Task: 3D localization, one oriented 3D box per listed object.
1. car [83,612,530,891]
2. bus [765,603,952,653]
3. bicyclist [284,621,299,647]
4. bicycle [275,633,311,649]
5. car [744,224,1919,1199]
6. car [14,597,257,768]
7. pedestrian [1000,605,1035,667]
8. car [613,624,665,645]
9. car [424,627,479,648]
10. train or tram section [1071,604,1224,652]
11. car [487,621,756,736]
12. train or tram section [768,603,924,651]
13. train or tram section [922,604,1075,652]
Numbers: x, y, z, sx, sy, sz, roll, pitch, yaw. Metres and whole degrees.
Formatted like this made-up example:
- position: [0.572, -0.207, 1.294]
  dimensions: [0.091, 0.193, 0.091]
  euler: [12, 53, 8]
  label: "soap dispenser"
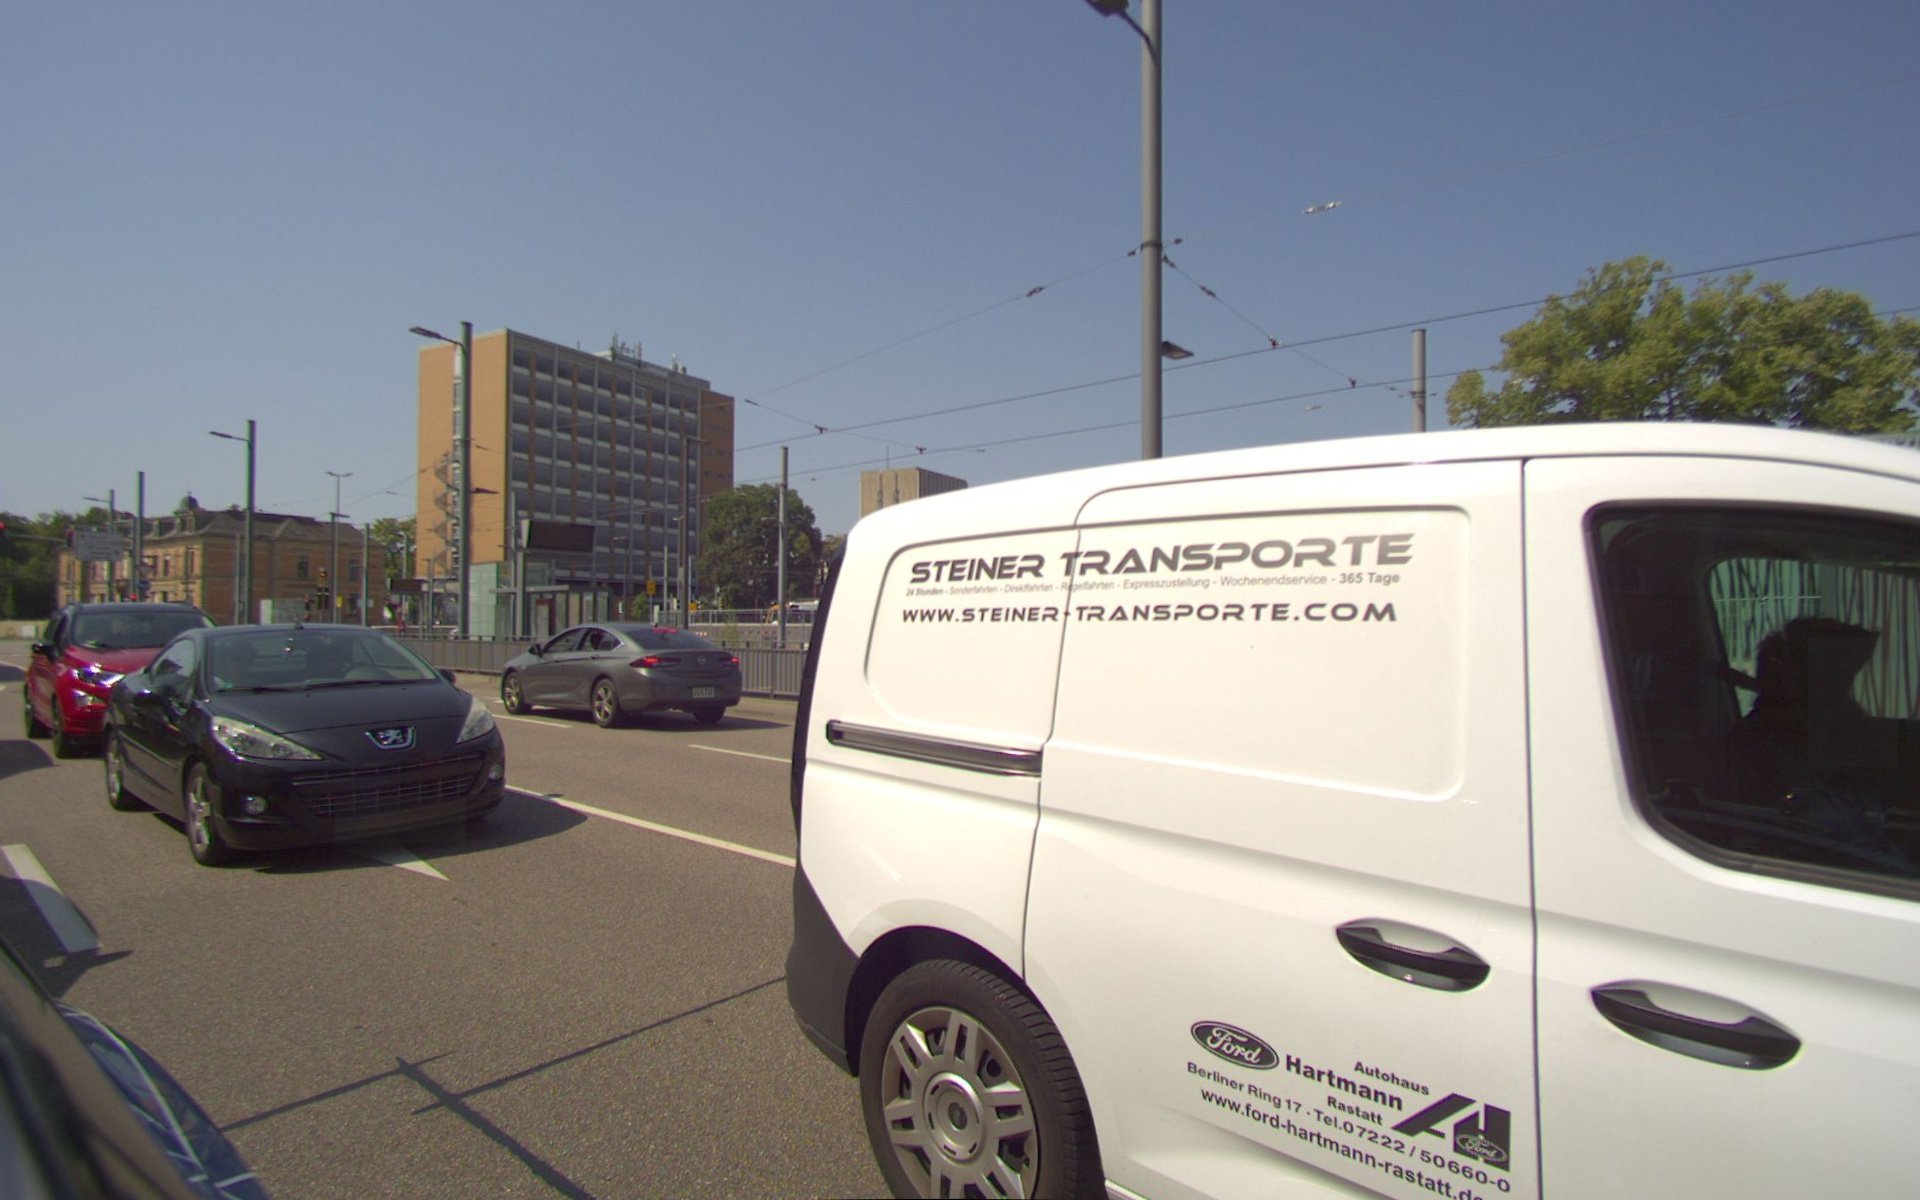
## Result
- position: [-4.735, 0.824, 7.119]
  dimensions: [3.799, 1.424, 1.671]
  euler: [-1, -1, 41]
  label: "car"
- position: [-7.298, 1.998, 73.628]
  dimensions: [13.205, 3.319, 3.354]
  euler: [-1, 0, -4]
  label: "bus"
- position: [-49.017, 2.483, 74.184]
  dimensions: [0.845, 1.916, 0.666]
  euler: [-1, -1, -28]
  label: "bicyclist"
- position: [-48.918, 2.988, 74.219]
  dimensions: [2.149, 1.109, 0.666]
  euler: [-1, 0, -28]
  label: "bicycle"
- position: [1.594, 0.490, 1.876]
  dimensions: [4.237, 1.834, 1.729]
  euler: [-1, -1, 41]
  label: "car"
- position: [-9.561, 0.824, 11.623]
  dimensions: [3.967, 1.633, 1.612]
  euler: [-1, -1, 43]
  label: "car"
- position: [1.721, 1.077, 30.203]
  dimensions: [0.761, 1.801, 0.735]
  euler: [-2, -3, 42]
  label: "pedestrian"
- position: [-29.713, 3.151, 93.710]
  dimensions: [4.217, 1.745, 1.888]
  euler: [-1, 0, -37]
  label: "car"
- position: [-42.084, 3.091, 83.815]
  dimensions: [3.818, 1.597, 1.692]
  euler: [-1, 0, -37]
  label: "car"
- position: [15.242, 2.313, 82.570]
  dimensions: [12.180, 3.794, 2.002]
  euler: [0, -2, -4]
  label: "train or tram section"
- position: [-5.131, 1.062, 14.989]
  dimensions: [4.572, 1.446, 1.727]
  euler: [-1, -3, 42]
  label: "car"
- position: [-9.049, 2.159, 80.775]
  dimensions: [12.180, 3.794, 2.002]
  euler: [0, -2, -4]
  label: "train or tram section"
- position: [3.078, 2.243, 81.672]
  dimensions: [12.180, 3.794, 2.002]
  euler: [0, -2, -4]
  label: "train or tram section"
